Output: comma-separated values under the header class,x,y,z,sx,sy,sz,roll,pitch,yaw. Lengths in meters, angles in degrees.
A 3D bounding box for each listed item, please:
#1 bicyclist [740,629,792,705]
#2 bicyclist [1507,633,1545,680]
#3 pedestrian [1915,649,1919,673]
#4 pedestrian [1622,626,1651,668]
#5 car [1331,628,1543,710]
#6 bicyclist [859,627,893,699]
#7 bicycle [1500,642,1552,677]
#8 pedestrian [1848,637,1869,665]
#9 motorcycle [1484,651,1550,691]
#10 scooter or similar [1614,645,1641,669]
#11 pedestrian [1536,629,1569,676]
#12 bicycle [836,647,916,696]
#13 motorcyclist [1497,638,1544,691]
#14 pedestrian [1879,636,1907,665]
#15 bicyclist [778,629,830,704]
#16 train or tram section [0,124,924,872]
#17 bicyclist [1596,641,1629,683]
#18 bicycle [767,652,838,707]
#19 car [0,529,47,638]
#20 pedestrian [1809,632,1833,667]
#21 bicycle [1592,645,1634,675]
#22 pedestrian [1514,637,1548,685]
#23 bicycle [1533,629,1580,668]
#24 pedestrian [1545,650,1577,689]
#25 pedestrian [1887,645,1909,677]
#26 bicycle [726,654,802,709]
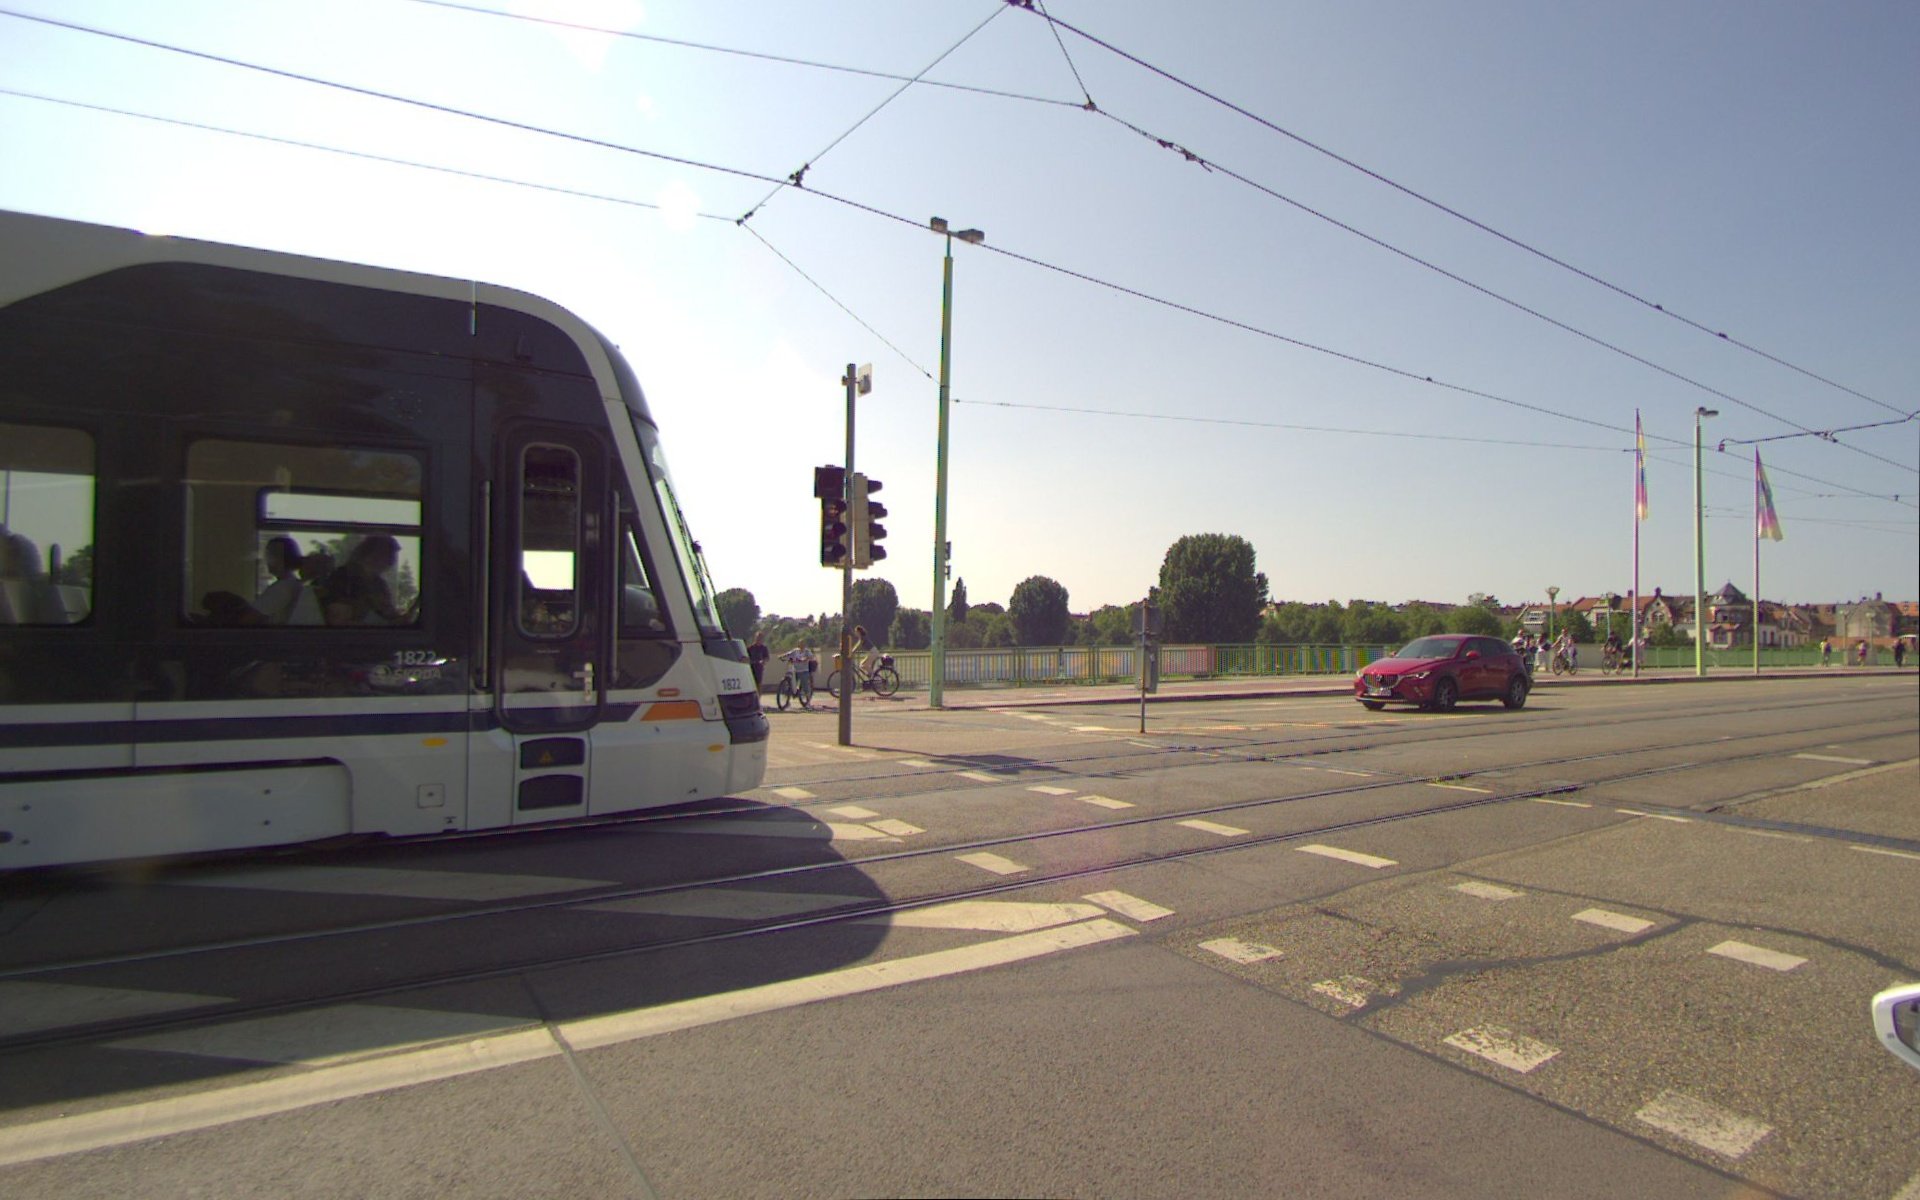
class,x,y,z,sx,sy,sz,roll,pitch,yaw
bicyclist,-4.305,1.475,22.319,0.756,1.630,0.880,1,-2,19
bicyclist,19.710,1.965,34.995,0.763,1.630,0.872,1,-2,-32
pedestrian,71.673,4.500,74.330,1.280,1.751,1.092,4,-7,-31
pedestrian,31.006,2.160,46.047,0.966,1.878,0.733,2,1,-36
car,9.878,1.421,20.745,4.141,1.534,1.984,3,-3,-30
bicyclist,-2.066,1.524,24.547,0.757,1.696,0.879,2,-2,-6
bicycle,19.733,2.065,34.997,1.899,1.129,0.754,1,1,-33
pedestrian,56.893,3.226,63.599,1.165,1.744,0.749,4,-2,-36
motorcycle,15.541,1.985,28.009,1.933,1.038,0.839,3,-1,-36
scooter or similar,30.253,2.584,45.519,0.825,1.043,0.733,2,1,-36
pedestrian,23.880,2.107,40.473,0.948,1.808,0.733,2,1,-36
bicycle,-2.046,1.740,24.578,1.884,1.128,0.761,2,-2,-6
motorcyclist,15.744,1.799,28.207,0.889,1.420,0.839,3,-1,-36
pedestrian,59.345,3.209,63.915,1.283,1.781,1.089,2,-1,-36
bicyclist,-3.499,1.483,22.552,0.862,1.630,0.772,1,-1,19
train or tram section,-5.992,-0.512,5.935,11.703,3.827,2.460,2,-2,-29
bicyclist,26.107,2.466,40.179,0.764,1.630,0.871,3,-2,-34
bicycle,-3.501,1.749,22.485,0.746,1.128,1.920,1,-2,19
car,-19.735,-0.326,20.014,1.983,2.040,3.955,2,-1,-39
pedestrian,52.248,3.004,60.930,1.032,2.040,0.892,2,-2,-36
bicycle,26.124,2.407,40.171,1.901,1.128,0.754,3,-3,-34
pedestrian,23.321,2.483,41.011,1.111,1.873,0.733,2,1,-36
bicycle,23.067,1.868,38.835,2.143,1.418,0.699,3,2,-37
pedestrian,23.048,2.656,38.500,0.890,1.474,0.738,3,-2,-34
pedestrian,62.444,4.047,66.854,1.092,2.040,0.961,2,-2,-39
bicycle,-4.314,1.781,22.263,0.746,1.128,1.921,1,-2,19
